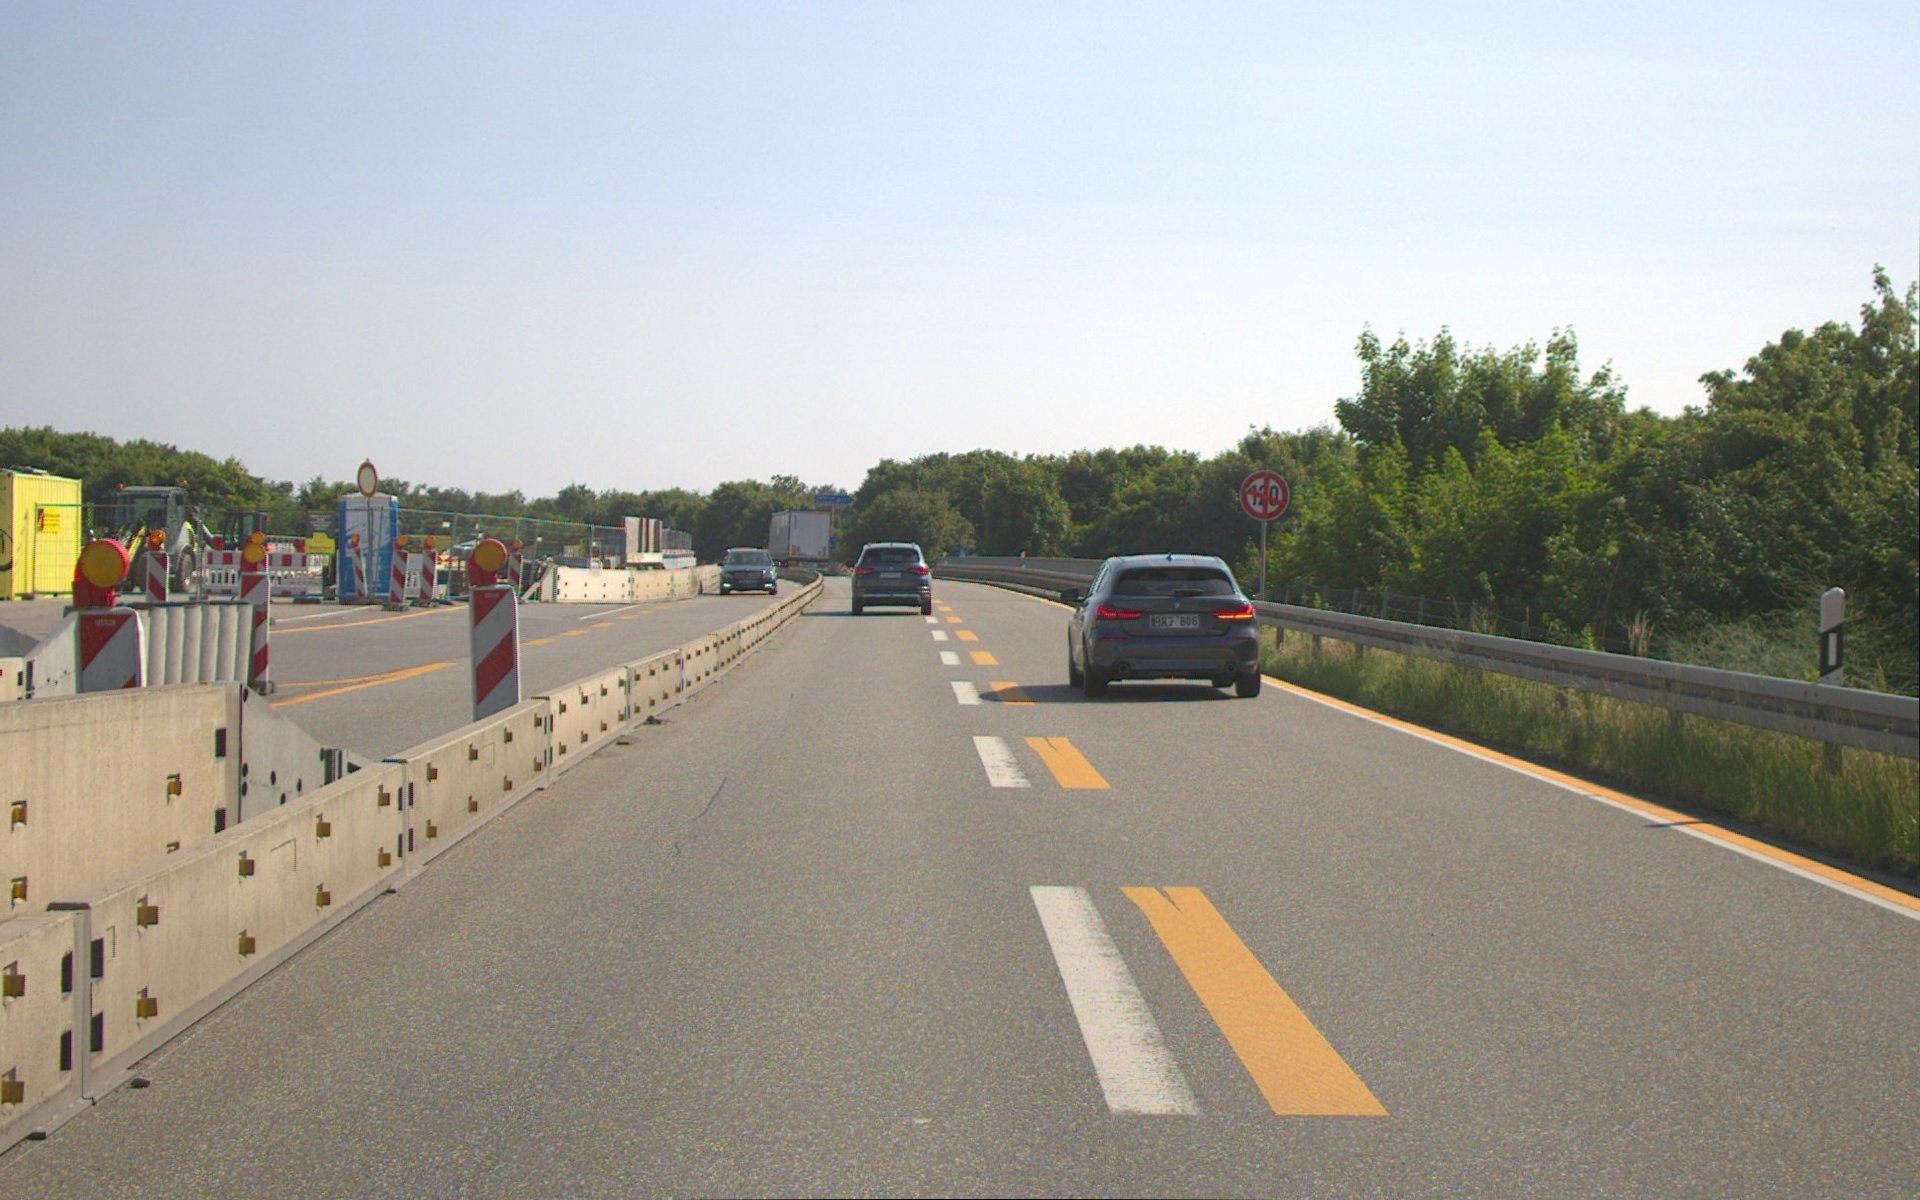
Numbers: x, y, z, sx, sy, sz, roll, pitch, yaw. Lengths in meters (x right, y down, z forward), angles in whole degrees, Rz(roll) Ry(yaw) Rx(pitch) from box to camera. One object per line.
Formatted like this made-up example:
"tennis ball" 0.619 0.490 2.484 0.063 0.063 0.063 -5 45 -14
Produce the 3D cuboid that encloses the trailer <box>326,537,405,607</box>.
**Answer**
"trailer" -14.615 -0.706 84.667 1.719 1.643 3.535 2 1 -7

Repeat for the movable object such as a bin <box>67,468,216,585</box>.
"movable object such as a bin" -19.484 -1.765 82.113 2.031 2.706 5.107 0 1 4

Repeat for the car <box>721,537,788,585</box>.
"car" -6.523 -1.258 109.598 1.859 1.468 4.684 2 1 0

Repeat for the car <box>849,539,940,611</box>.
"car" -1.446 -0.590 77.667 1.993 1.561 4.000 0 1 0

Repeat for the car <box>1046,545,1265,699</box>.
"car" 1.984 0.189 35.937 1.920 1.488 4.001 0 1 -2

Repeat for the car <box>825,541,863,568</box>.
"car" -7.597 -2.994 224.720 1.993 1.682 4.001 1 1 -8

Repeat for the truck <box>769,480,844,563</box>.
"truck" -9.579 -4.838 212.561 3.760 4.894 14.140 1 1 -6

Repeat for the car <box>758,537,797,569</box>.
"car" -9.731 -2.537 183.157 1.981 1.645 4.549 1 1 -3
